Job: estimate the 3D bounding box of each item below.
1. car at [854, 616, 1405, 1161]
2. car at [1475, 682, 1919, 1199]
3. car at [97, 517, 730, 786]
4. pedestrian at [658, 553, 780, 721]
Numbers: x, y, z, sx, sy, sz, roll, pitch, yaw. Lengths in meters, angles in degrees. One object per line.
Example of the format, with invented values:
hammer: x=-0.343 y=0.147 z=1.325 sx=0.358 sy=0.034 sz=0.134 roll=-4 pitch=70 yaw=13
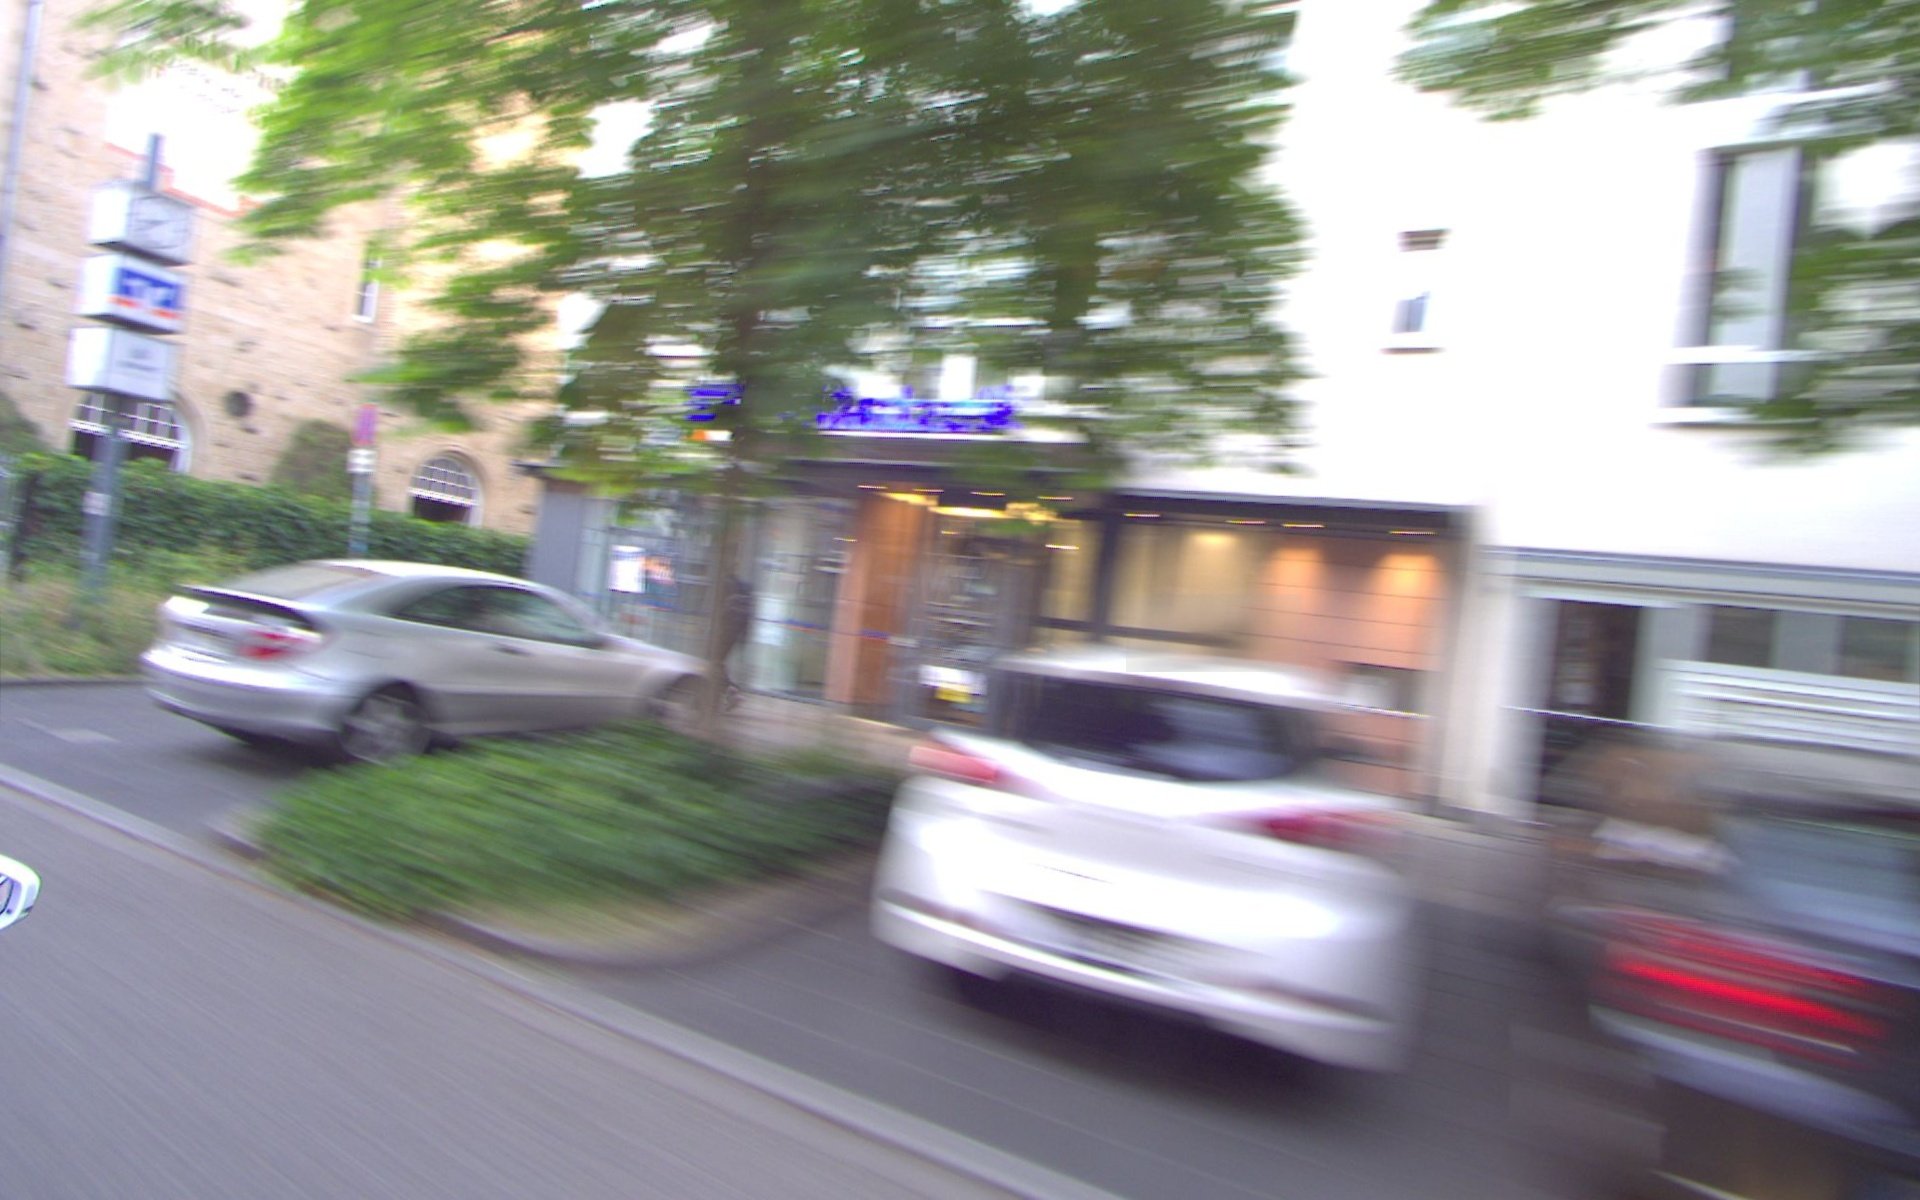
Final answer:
car: x=1.172 y=0.953 z=5.133 sx=1.703 sy=1.471 sz=3.803 roll=7 pitch=1 yaw=22
car: x=3.176 y=1.204 z=3.841 sx=1.795 sy=1.474 sz=3.997 roll=7 pitch=0 yaw=24
car: x=-4.025 y=0.373 z=8.172 sx=1.850 sy=1.471 sz=4.092 roll=7 pitch=1 yaw=29
pedestrian: x=-2.696 y=0.405 z=11.321 sx=0.945 sy=1.738 sz=0.730 roll=6 pitch=1 yaw=14
